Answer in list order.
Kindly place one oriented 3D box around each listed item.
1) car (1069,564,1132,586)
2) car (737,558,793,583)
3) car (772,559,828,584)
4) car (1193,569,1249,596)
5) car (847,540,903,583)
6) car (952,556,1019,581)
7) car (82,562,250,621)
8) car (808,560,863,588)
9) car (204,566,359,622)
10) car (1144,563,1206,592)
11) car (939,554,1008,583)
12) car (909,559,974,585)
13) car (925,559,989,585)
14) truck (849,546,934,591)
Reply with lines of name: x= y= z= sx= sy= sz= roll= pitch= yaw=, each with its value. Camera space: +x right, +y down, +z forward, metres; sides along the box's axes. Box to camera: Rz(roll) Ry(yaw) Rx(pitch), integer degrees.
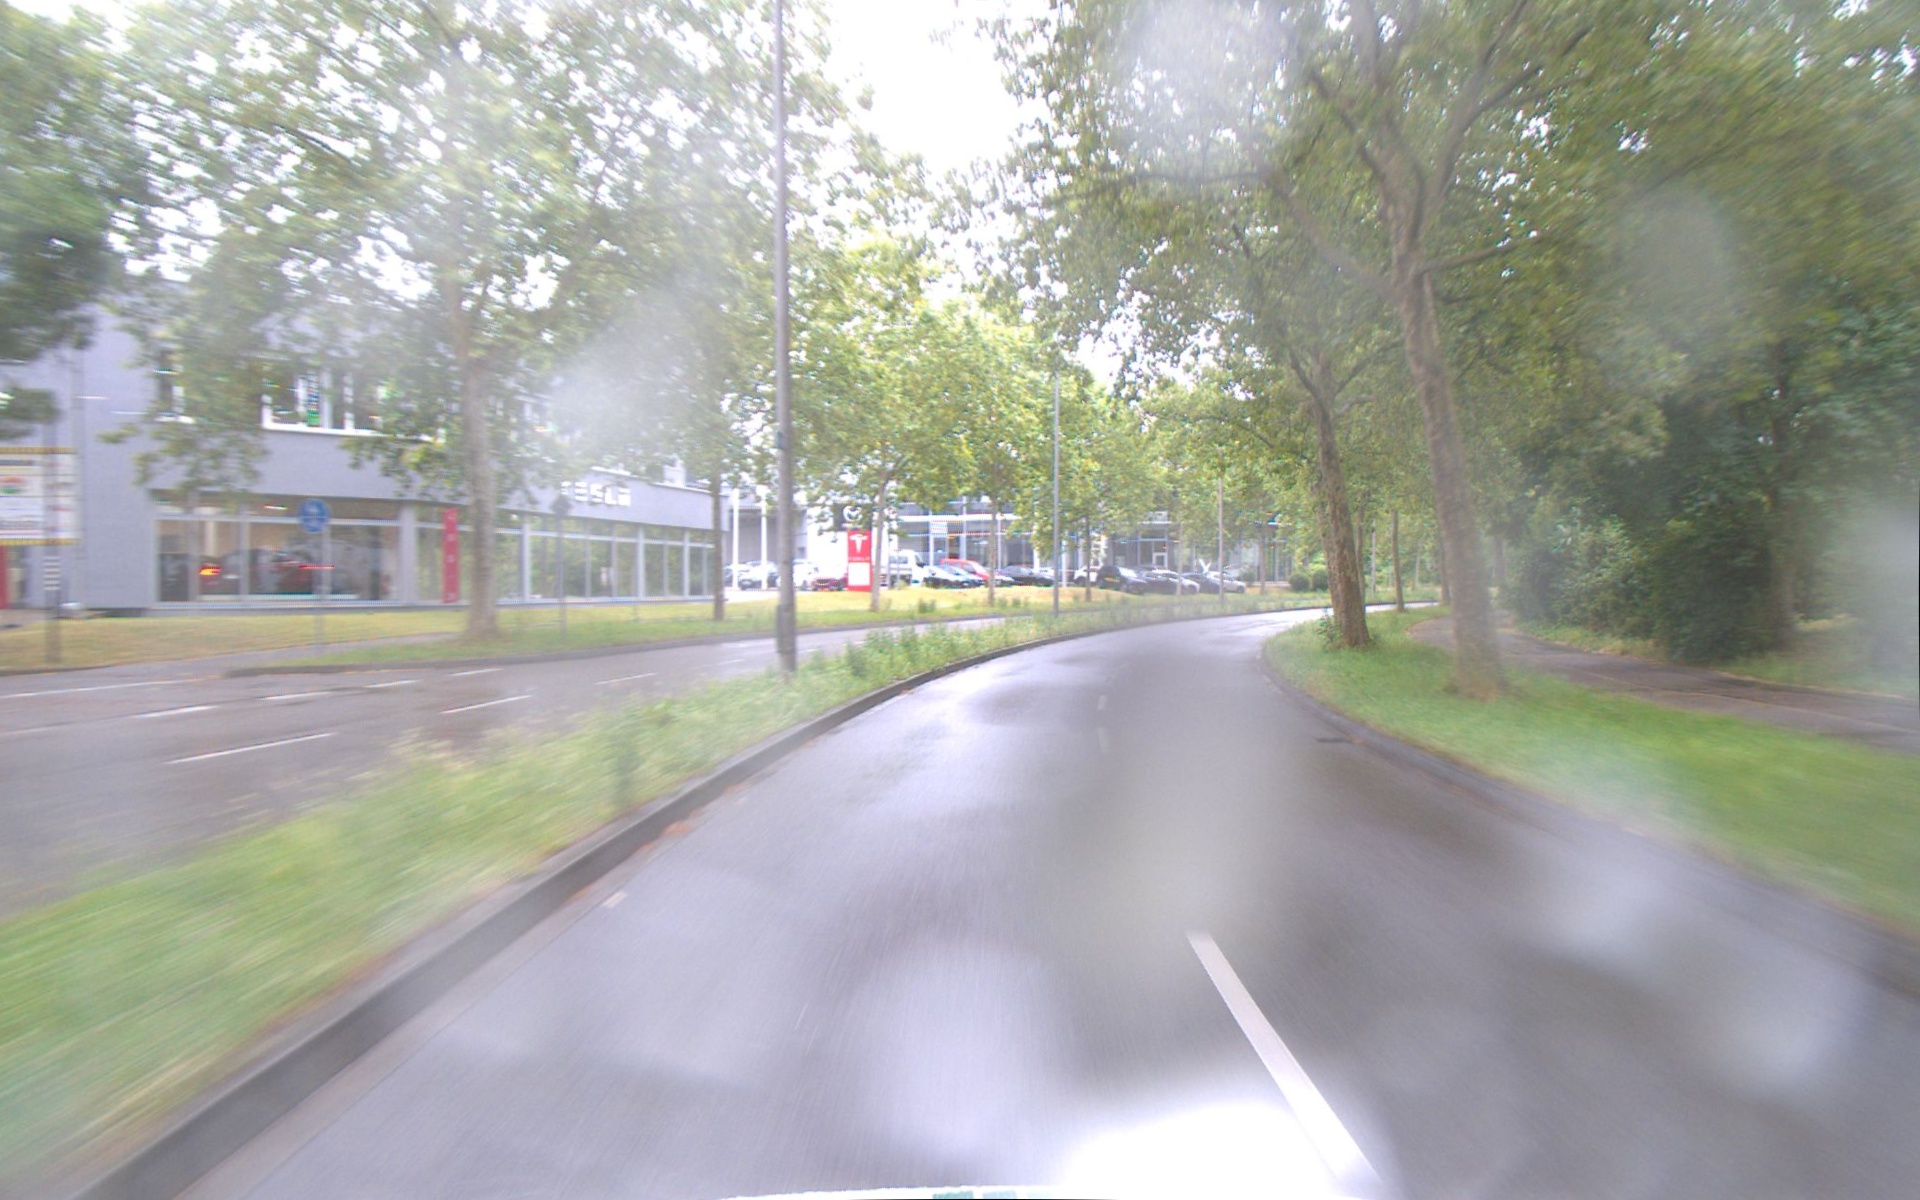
car: x=10.450 y=-1.861 z=122.916 sx=4.332 sy=1.499 sz=1.920 roll=2 pitch=1 yaw=23
car: x=-11.682 y=-1.795 z=99.309 sx=1.726 sy=1.421 sz=4.159 roll=2 pitch=3 yaw=18
car: x=-9.501 y=-1.716 z=98.554 sx=1.726 sy=1.421 sz=4.159 roll=2 pitch=3 yaw=18
car: x=20.537 y=-1.376 z=130.153 sx=3.928 sy=1.499 sz=1.777 roll=6 pitch=5 yaw=-20
car: x=-5.929 y=-2.667 z=114.475 sx=2.135 sy=2.800 sz=5.302 roll=2 pitch=1 yaw=-23
car: x=1.670 y=-2.041 z=107.253 sx=3.918 sy=1.380 sz=1.846 roll=4 pitch=3 yaw=25
car: x=-21.478 y=-0.234 z=44.750 sx=4.103 sy=1.520 sz=1.599 roll=1 pitch=0 yaw=18
car: x=-7.278 y=-1.548 z=96.841 sx=1.726 sy=1.492 sz=4.159 roll=2 pitch=3 yaw=18
car: x=-19.627 y=-0.182 z=47.857 sx=4.103 sy=1.520 sz=1.599 roll=1 pitch=0 yaw=18
car: x=15.987 y=-1.679 z=123.218 sx=4.049 sy=1.503 sz=1.842 roll=6 pitch=5 yaw=-15
car: x=0.844 y=-2.011 z=104.531 sx=3.918 sy=1.583 sz=1.846 roll=4 pitch=3 yaw=25
car: x=-1.121 y=-1.722 z=99.917 sx=3.454 sy=1.349 sz=1.767 roll=4 pitch=3 yaw=25
car: x=-0.180 y=-1.718 z=102.009 sx=3.454 sy=1.349 sz=1.767 roll=4 pitch=3 yaw=25
truck: x=-3.924 y=-1.862 z=96.131 sx=2.203 sy=2.384 sz=6.190 roll=4 pitch=3 yaw=25
